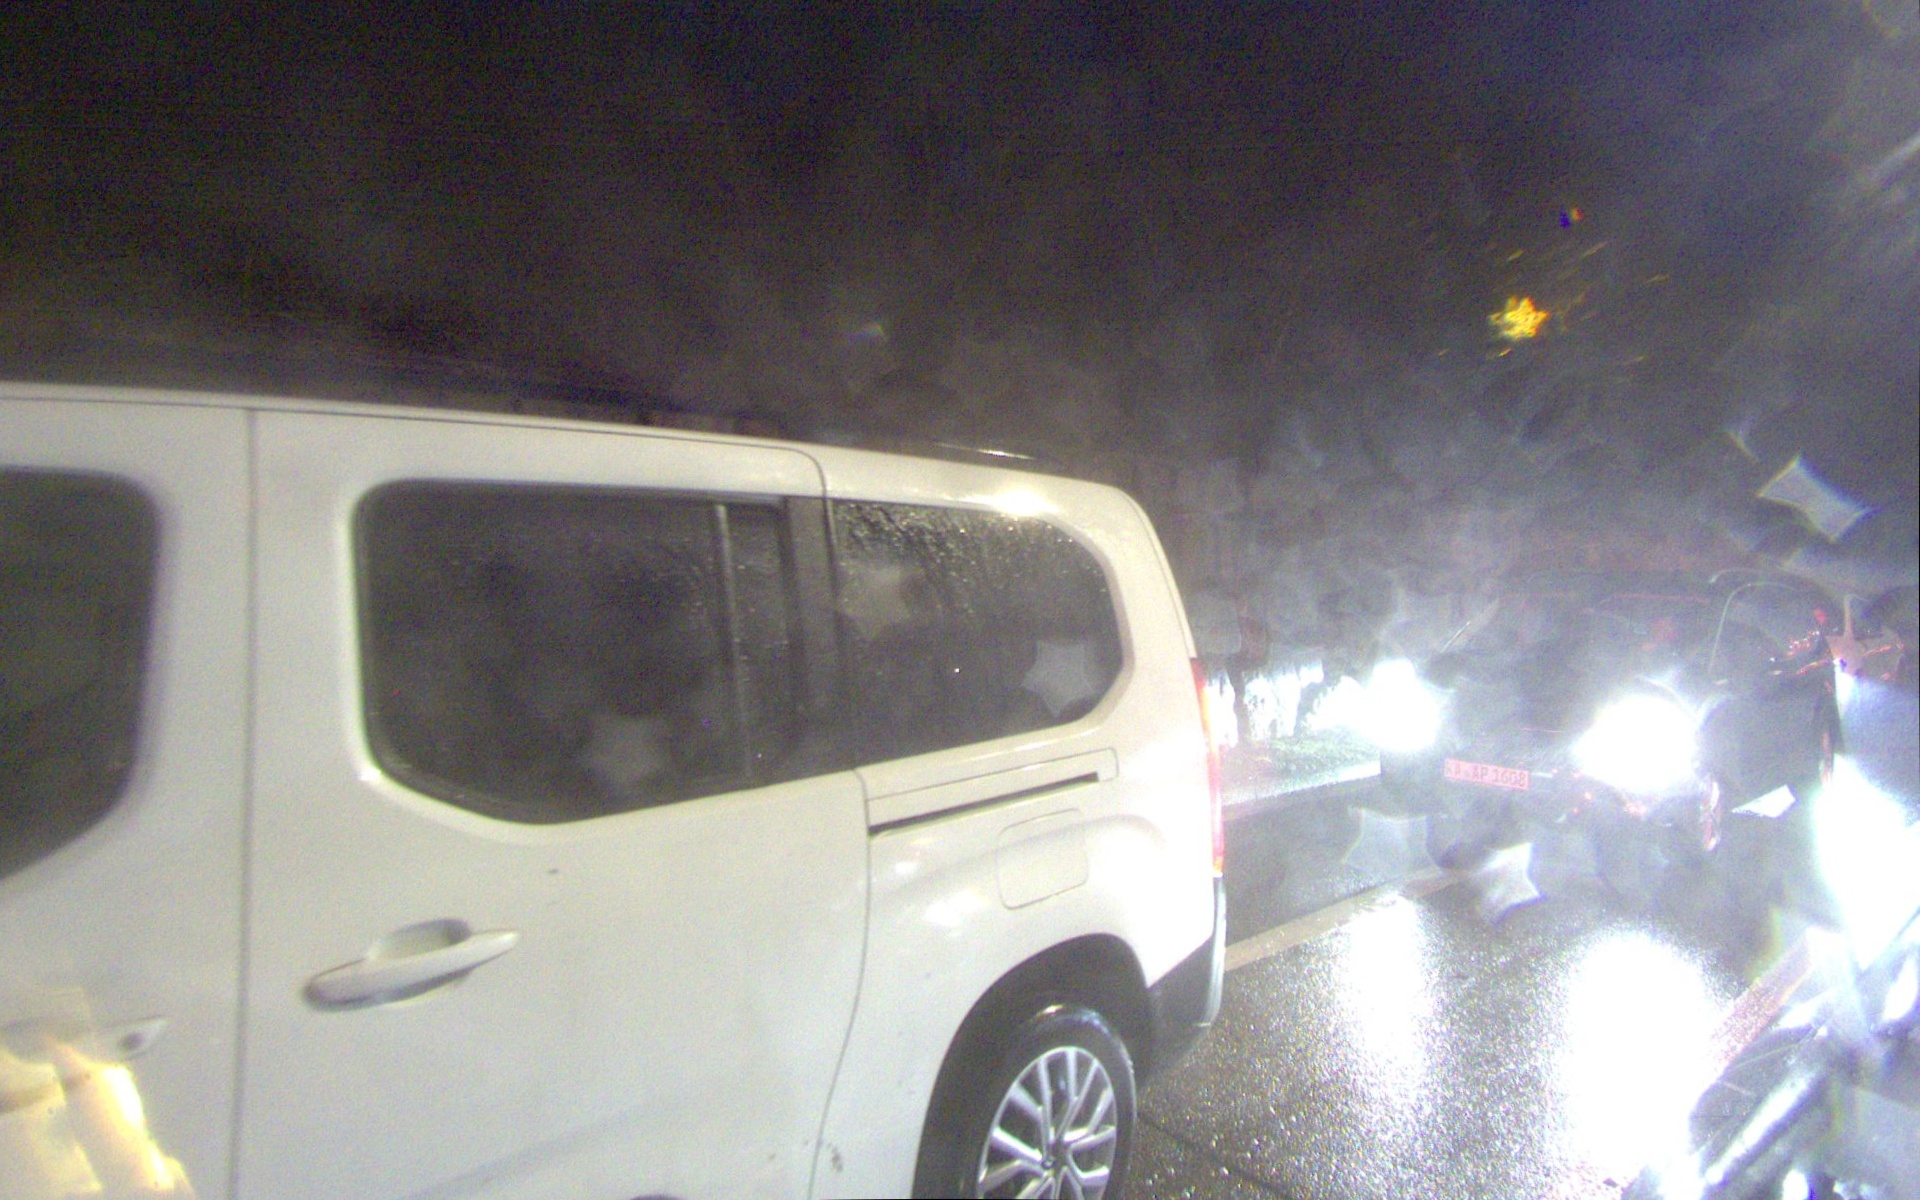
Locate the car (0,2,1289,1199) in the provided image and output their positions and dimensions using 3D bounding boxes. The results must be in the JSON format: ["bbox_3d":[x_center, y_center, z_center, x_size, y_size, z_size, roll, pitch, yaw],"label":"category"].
[{"bbox_3d":[-1.383,0.436,1.781,4.502,2.047,1.793,0,1,-43],"label":"car"}]

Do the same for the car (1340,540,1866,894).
[{"bbox_3d":[4.537,0.551,6.902,4.142,1.715,1.790,0,0,-39],"label":"car"}]

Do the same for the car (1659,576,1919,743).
[{"bbox_3d":[10.196,0.590,12.256,4.358,1.669,1.787,0,0,-41],"label":"car"}]
